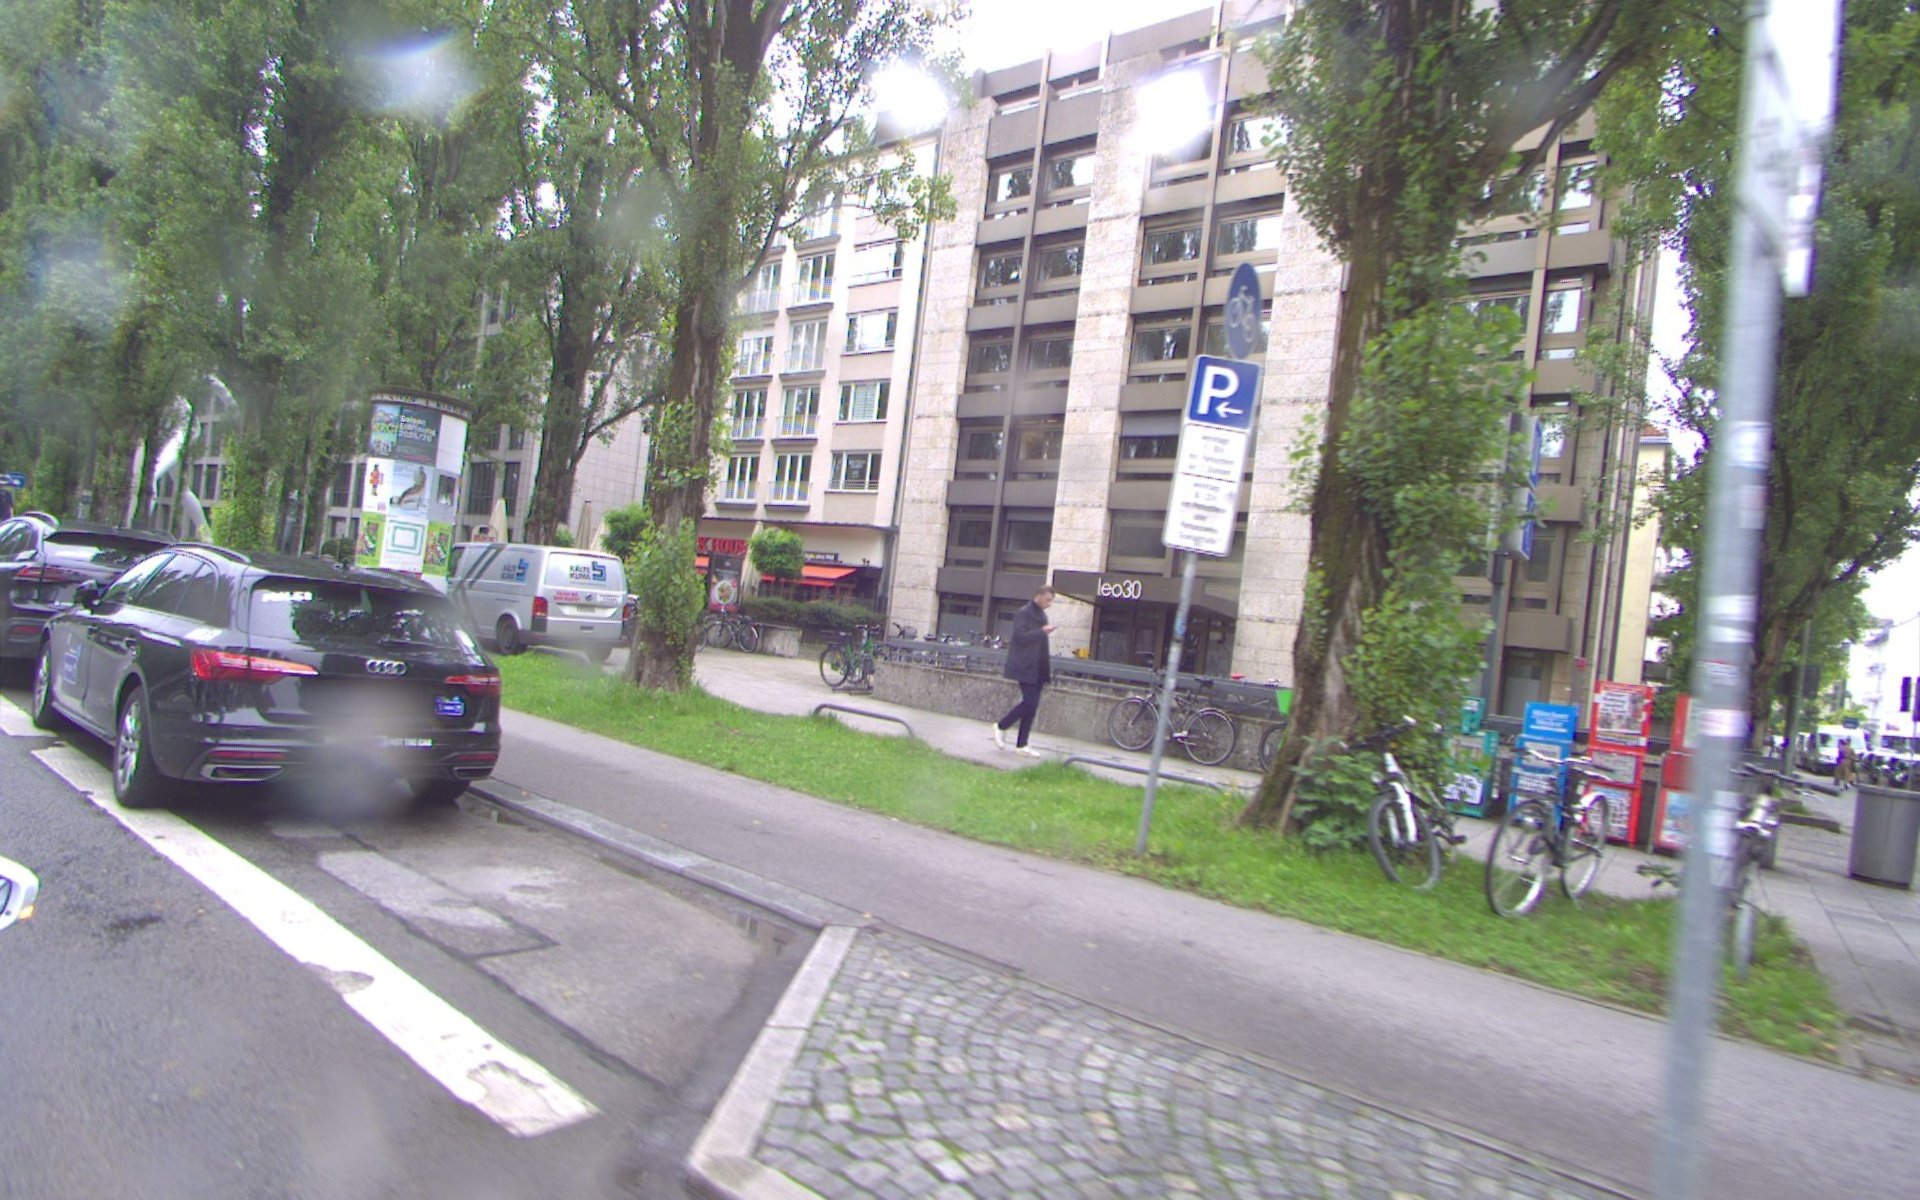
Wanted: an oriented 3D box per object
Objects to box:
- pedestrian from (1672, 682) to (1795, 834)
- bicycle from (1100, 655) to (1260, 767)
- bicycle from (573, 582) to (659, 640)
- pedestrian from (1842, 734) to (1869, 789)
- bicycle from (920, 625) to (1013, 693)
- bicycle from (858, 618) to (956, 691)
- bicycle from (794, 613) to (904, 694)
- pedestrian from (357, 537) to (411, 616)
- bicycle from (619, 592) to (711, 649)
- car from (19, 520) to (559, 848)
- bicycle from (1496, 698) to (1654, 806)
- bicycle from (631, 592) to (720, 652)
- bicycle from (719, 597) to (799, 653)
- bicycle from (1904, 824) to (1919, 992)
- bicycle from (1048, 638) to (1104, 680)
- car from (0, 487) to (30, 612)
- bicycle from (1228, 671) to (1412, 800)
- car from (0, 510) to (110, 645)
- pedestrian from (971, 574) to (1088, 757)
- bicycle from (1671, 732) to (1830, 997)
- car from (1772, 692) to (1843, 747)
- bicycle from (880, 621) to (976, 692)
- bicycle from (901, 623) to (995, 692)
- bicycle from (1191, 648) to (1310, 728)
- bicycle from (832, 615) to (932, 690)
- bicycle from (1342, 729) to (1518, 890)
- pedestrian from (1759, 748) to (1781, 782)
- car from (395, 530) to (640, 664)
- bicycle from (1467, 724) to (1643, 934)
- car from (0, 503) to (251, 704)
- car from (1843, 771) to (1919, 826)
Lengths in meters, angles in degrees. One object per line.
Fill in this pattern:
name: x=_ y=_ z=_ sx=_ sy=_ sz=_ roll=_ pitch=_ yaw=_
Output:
pedestrian: x=9.784 y=1.984 z=12.729 sx=0.903 sy=1.734 sz=0.861 roll=7 pitch=-1 yaw=-34
bicycle: x=2.865 y=1.424 z=13.168 sx=1.837 sy=1.174 sz=0.587 roll=6 pitch=-1 yaw=29
bicycle: x=-8.339 y=0.287 z=24.458 sx=0.579 sy=1.173 sz=1.863 roll=7 pitch=-1 yaw=39
pedestrian: x=28.696 y=5.166 z=32.251 sx=0.483 sy=1.648 sz=0.566 roll=6 pitch=0 yaw=40
bicycle: x=0.115 y=1.206 z=20.787 sx=1.842 sy=1.174 sz=0.585 roll=6 pitch=-1 yaw=39
bicycle: x=-1.031 y=1.041 z=19.310 sx=1.842 sy=1.174 sz=0.585 roll=6 pitch=-1 yaw=39
bicycle: x=-1.956 y=0.910 z=17.532 sx=1.955 sy=1.174 sz=0.585 roll=6 pitch=-1 yaw=39
pedestrian: x=-14.083 y=-0.580 z=24.593 sx=0.832 sy=1.824 sz=0.747 roll=6 pitch=-1 yaw=42
bicycle: x=-6.876 y=0.495 z=23.532 sx=0.579 sy=1.174 sz=2.023 roll=5 pitch=0 yaw=39
car: x=-4.689 y=0.380 z=6.734 sx=4.385 sy=1.443 sz=1.750 roll=5 pitch=-3 yaw=40
bicycle: x=9.203 y=2.243 z=15.090 sx=1.842 sy=1.292 sz=0.719 roll=6 pitch=-1 yaw=39
bicycle: x=-6.476 y=0.515 z=22.980 sx=0.579 sy=1.173 sz=1.862 roll=7 pitch=-1 yaw=39
bicycle: x=-5.017 y=0.627 z=25.074 sx=1.835 sy=1.174 sz=0.587 roll=7 pitch=0 yaw=23
bicycle: x=5.139 y=1.536 z=4.950 sx=0.469 sy=1.063 sz=1.869 roll=6 pitch=0 yaw=38
bicycle: x=3.701 y=1.888 z=32.047 sx=0.638 sy=1.169 sz=2.239 roll=6 pitch=-1 yaw=37
car: x=-17.645 y=-1.081 z=16.885 sx=4.962 sy=1.946 sz=1.913 roll=6 pitch=-3 yaw=36
bicycle: x=4.095 y=1.520 z=11.585 sx=0.583 sy=1.174 sz=1.848 roll=7 pitch=-1 yaw=-40
car: x=-13.177 y=-0.460 z=13.396 sx=4.169 sy=1.544 sz=1.745 roll=6 pitch=-3 yaw=36
pedestrian: x=0.799 y=0.740 z=11.513 sx=0.892 sy=1.952 sz=0.713 roll=6 pitch=0 yaw=38
bicycle: x=4.357 y=1.355 z=5.611 sx=0.505 sy=1.118 sz=1.924 roll=6 pitch=-1 yaw=37
car: x=43.875 y=6.167 z=52.194 sx=2.057 sy=2.461 sz=5.597 roll=5 pitch=-2 yaw=34
bicycle: x=-0.639 y=1.103 z=19.794 sx=1.842 sy=1.174 sz=0.585 roll=6 pitch=-1 yaw=39
bicycle: x=-0.262 y=1.148 z=20.290 sx=1.842 sy=1.174 sz=0.585 roll=6 pitch=-1 yaw=39
bicycle: x=5.136 y=1.549 z=17.851 sx=1.842 sy=1.174 sz=0.585 roll=6 pitch=-1 yaw=39
bicycle: x=-1.477 y=0.968 z=18.805 sx=1.842 sy=1.174 sz=0.585 roll=6 pitch=-1 yaw=39
bicycle: x=3.086 y=1.291 z=6.507 sx=0.465 sy=0.828 sz=1.824 roll=6 pitch=-1 yaw=42
pedestrian: x=40.011 y=8.153 z=49.709 sx=0.635 sy=1.555 sz=0.708 roll=6 pitch=-2 yaw=33
car: x=-8.236 y=-0.116 z=18.481 sx=5.127 sy=1.919 sz=1.808 roll=6 pitch=-1 yaw=39
bicycle: x=3.723 y=1.326 z=6.219 sx=0.506 sy=1.051 sz=1.824 roll=6 pitch=-1 yaw=42
car: x=-8.725 y=-0.044 z=9.893 sx=3.851 sy=1.544 sz=1.743 roll=5 pitch=-3 yaw=39
car: x=35.096 y=7.492 z=38.133 sx=1.839 sy=1.516 sz=3.865 roll=5 pitch=-3 yaw=34
